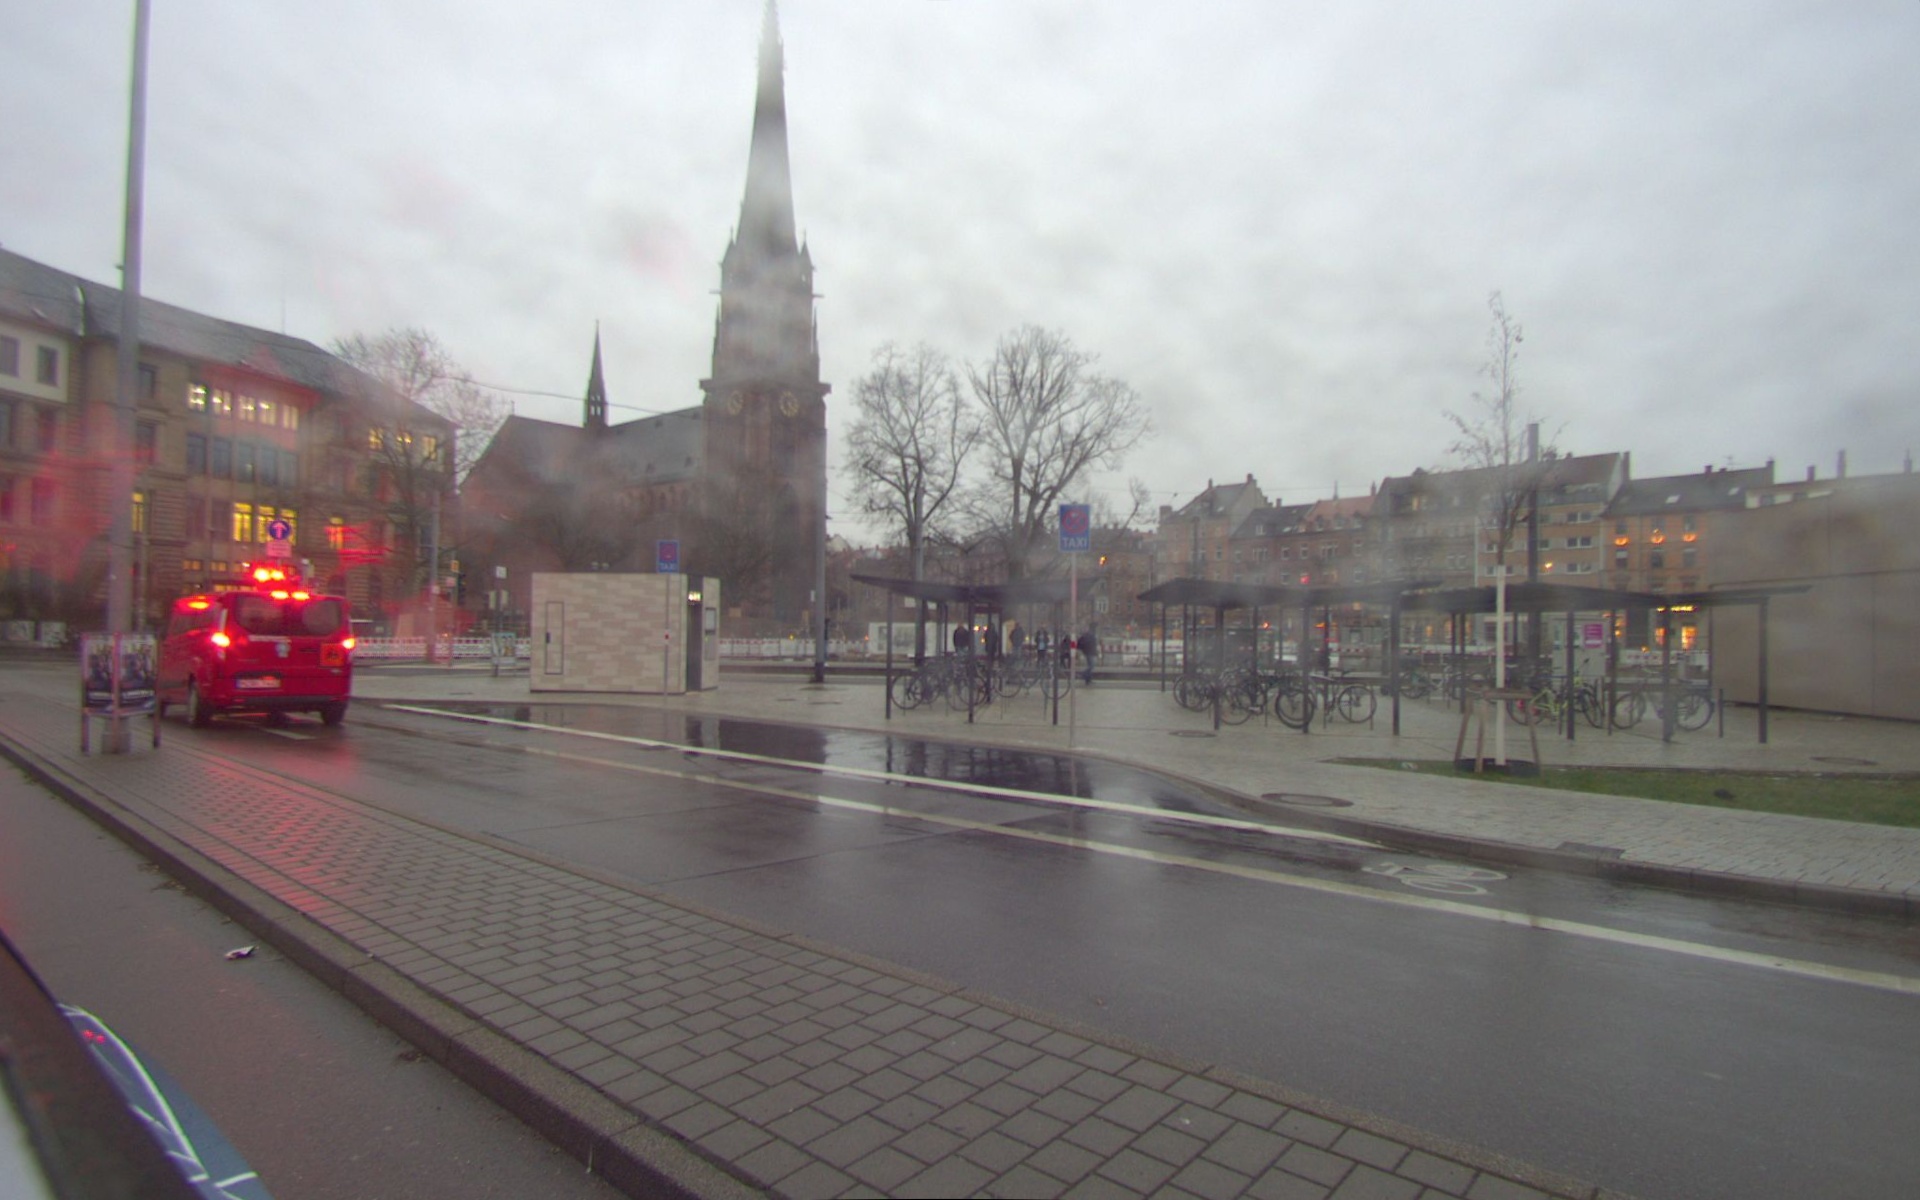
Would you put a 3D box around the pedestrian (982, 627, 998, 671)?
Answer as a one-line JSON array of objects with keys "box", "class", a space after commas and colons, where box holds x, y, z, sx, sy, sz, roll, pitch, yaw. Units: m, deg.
[{"box": [1.155, 1.858, 38.646, 0.556, 1.664, 0.540, -1, 0, -1], "class": "pedestrian"}]

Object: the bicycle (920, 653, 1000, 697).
[{"box": [-0.009, 1.827, 24.863, 1.905, 0.993, 0.473, 1, -1, 11], "class": "bicycle"}]

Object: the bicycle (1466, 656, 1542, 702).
[{"box": [13.239, 1.914, 24.658, 1.551, 1.044, 0.521, 1, -1, 1], "class": "bicycle"}]

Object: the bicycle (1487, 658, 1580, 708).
[{"box": [13.259, 1.907, 23.411, 1.810, 1.081, 0.474, 1, -1, 8], "class": "bicycle"}]

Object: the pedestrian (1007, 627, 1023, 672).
[{"box": [2.074, 1.854, 38.108, 0.543, 1.648, 0.571, -1, 0, -1], "class": "pedestrian"}]

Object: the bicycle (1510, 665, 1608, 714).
[{"box": [12.906, 1.917, 21.824, 1.751, 0.963, 0.473, 1, -1, 11], "class": "bicycle"}]

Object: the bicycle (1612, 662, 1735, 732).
[{"box": [12.695, 1.723, 18.039, 1.731, 1.165, 0.617, 1, -1, 1], "class": "bicycle"}]

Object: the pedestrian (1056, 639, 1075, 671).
[{"box": [3.987, 2.071, 38.318, 0.610, 1.165, 0.806, -1, 0, -1], "class": "pedestrian"}]

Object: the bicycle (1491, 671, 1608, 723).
[{"box": [11.373, 1.860, 19.565, 1.905, 0.898, 0.473, 1, -1, 11], "class": "bicycle"}]

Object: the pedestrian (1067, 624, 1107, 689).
[{"box": [3.572, 1.566, 28.347, 1.056, 1.778, 1.008, 0, -3, 10], "class": "pedestrian"}]

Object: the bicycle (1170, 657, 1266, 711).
[{"box": [5.437, 1.771, 21.395, 1.899, 1.078, 0.474, 1, -1, 2], "class": "bicycle"}]

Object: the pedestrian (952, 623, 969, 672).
[{"box": [0.011, 1.801, 38.572, 0.619, 1.808, 0.672, -1, 0, -1], "class": "pedestrian"}]

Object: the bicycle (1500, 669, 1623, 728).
[{"box": [11.132, 1.812, 18.778, 1.905, 0.983, 0.473, 1, -1, 11], "class": "bicycle"}]

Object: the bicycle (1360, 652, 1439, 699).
[{"box": [11.190, 1.923, 25.796, 1.780, 1.116, 0.473, 1, -1, 11], "class": "bicycle"}]

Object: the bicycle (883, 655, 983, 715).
[{"box": [-0.532, 1.652, 19.861, 1.905, 1.078, 0.473, 1, -1, 11], "class": "bicycle"}]

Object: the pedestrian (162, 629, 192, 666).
[{"box": [-39.013, 2.363, 50.448, 0.885, 1.830, 0.674, 1, -2, -1], "class": "pedestrian"}]

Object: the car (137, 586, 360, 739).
[{"box": [-11.426, 0.944, 16.130, 4.644, 2.086, 1.903, -2, -4, 43], "class": "car"}]

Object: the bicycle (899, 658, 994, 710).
[{"box": [-0.281, 1.732, 21.098, 1.905, 0.993, 0.473, 1, -1, 11], "class": "bicycle"}]

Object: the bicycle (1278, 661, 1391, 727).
[{"box": [6.951, 1.733, 18.860, 1.905, 1.129, 0.473, 1, -1, 11], "class": "bicycle"}]

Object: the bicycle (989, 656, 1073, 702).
[{"box": [1.645, 1.820, 23.417, 1.905, 0.993, 0.473, 1, -1, 11], "class": "bicycle"}]

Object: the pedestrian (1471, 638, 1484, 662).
[{"box": [42.761, 4.123, 83.634, 0.579, 2.029, 0.707, 3, -4, -40], "class": "pedestrian"}]

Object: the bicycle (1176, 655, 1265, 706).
[{"box": [5.855, 1.807, 22.843, 1.905, 1.078, 0.473, 1, -1, 11], "class": "bicycle"}]

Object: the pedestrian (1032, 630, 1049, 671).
[{"box": [3.040, 1.909, 38.326, 0.580, 1.513, 0.675, -1, 0, -1], "class": "pedestrian"}]

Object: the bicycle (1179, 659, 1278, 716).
[{"box": [5.450, 1.773, 20.611, 1.905, 1.078, 0.473, 1, -1, 11], "class": "bicycle"}]

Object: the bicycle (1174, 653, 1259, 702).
[{"box": [6.070, 1.827, 24.034, 1.905, 1.078, 0.473, 1, -1, 11], "class": "bicycle"}]

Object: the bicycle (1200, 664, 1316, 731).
[{"box": [5.262, 1.718, 17.950, 1.905, 1.078, 0.473, 1, -1, 11], "class": "bicycle"}]

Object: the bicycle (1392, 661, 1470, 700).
[{"box": [11.627, 1.989, 24.985, 1.672, 0.898, 0.474, 1, -1, 5], "class": "bicycle"}]

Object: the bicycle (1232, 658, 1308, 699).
[{"box": [7.668, 1.940, 25.064, 1.729, 0.946, 0.474, 1, -1, 7], "class": "bicycle"}]

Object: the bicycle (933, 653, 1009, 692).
[{"box": [0.277, 1.867, 26.120, 1.905, 0.917, 0.473, 1, -1, 11], "class": "bicycle"}]

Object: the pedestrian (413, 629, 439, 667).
[{"box": [-24.364, 2.164, 46.161, 0.761, 1.673, 1.210, -1, 0, -40], "class": "pedestrian"}]

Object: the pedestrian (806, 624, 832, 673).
[{"box": [-5.363, 1.842, 38.445, 0.817, 1.808, 0.669, -1, 0, 6], "class": "pedestrian"}]
